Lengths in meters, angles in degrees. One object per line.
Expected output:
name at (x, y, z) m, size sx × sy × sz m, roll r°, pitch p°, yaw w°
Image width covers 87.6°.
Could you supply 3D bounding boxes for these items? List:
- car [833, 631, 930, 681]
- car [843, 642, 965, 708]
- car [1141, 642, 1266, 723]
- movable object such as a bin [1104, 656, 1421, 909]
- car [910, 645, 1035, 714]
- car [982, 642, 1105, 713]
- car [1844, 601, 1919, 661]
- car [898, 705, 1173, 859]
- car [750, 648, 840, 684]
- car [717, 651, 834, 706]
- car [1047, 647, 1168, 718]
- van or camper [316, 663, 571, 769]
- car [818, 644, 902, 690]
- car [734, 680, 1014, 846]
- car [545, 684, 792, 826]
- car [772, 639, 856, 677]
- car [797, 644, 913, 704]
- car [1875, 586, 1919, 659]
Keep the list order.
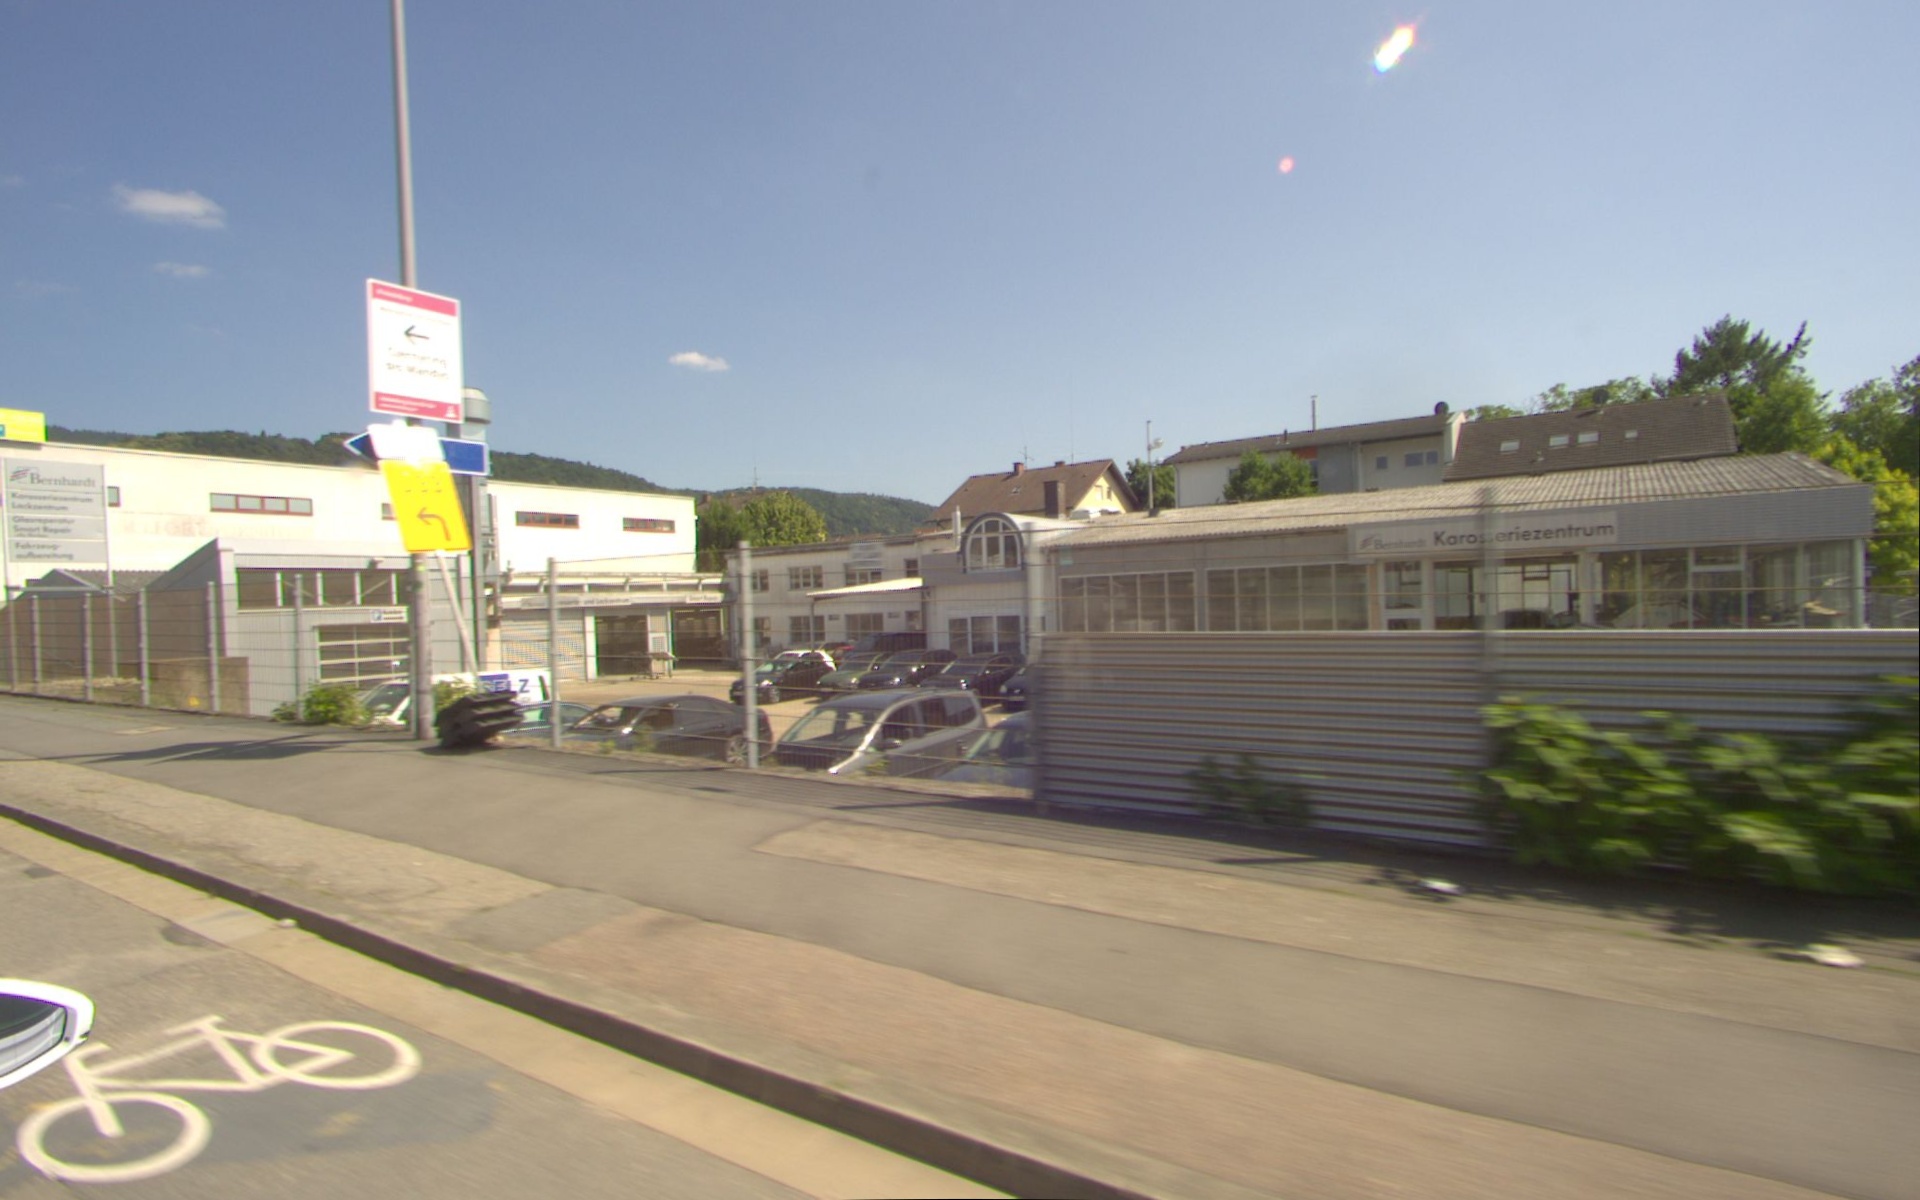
car at (-3.118, 2.225, 40.482) m, size 1.889 × 1.880 × 3.979 m, roll -2°, pitch -2°, yaw 32°
car at (-1.729, 2.342, 32.204) m, size 1.971 × 1.684 × 3.978 m, roll -1°, pitch 2°, yaw 31°
car at (6.364, 2.065, 25.864) m, size 1.972 × 1.683 × 3.978 m, roll -3°, pitch 0°, yaw 31°
movable object such as a bin at (3.587, 1.673, 11.057) m, size 1.973 × 2.039 × 5.105 m, roll -1°, pitch -2°, yaw 34°
car at (0.446, 2.344, 30.197) m, size 1.972 × 1.683 × 3.978 m, roll -3°, pitch 0°, yaw 31°
car at (2.532, 2.239, 29.461) m, size 1.972 × 1.683 × 3.978 m, roll -3°, pitch 0°, yaw 31°
car at (24.760, 0.770, 24.893) m, size 1.767 × 1.482 × 3.810 m, roll 0°, pitch -2°, yaw -27°
car at (1.125, 2.128, 12.651) m, size 1.970 × 1.319 × 3.984 m, roll -1°, pitch -2°, yaw 30°
car at (-7.110, 2.834, 43.447) m, size 1.844 × 1.422 × 3.819 m, roll -3°, pitch -3°, yaw 31°
car at (-6.409, 2.735, 35.210) m, size 1.819 × 1.536 × 3.978 m, roll -3°, pitch 0°, yaw 31°
car at (4.100, 2.211, 27.367) m, size 1.821 × 1.535 × 3.978 m, roll -3°, pitch 0°, yaw 31°
van or camper at (-10.506, 2.280, 20.704) m, size 1.990 × 1.672 × 4.307 m, roll -1°, pitch 0°, yaw 30°
car at (-4.706, 3.150, 47.575) m, size 1.972 × 2.038 × 3.982 m, roll -3°, pitch -3°, yaw 31°
car at (-1.065, 2.143, 14.257) m, size 1.972 × 1.672 × 3.978 m, roll -1°, pitch 0°, yaw 32°
car at (-5.127, 2.642, 18.109) m, size 1.972 × 2.039 × 3.980 m, roll -1°, pitch -2°, yaw 33°
car at (-7.000, 2.779, 48.429) m, size 1.971 × 1.727 × 3.982 m, roll -1°, pitch -2°, yaw 31°
car at (-3.563, 2.489, 34.524) m, size 1.837 × 1.684 × 3.975 m, roll -1°, pitch 1°, yaw 34°
car at (23.250, 0.531, 22.153) m, size 1.969 × 1.669 × 3.983 m, roll 0°, pitch 0°, yaw -26°
